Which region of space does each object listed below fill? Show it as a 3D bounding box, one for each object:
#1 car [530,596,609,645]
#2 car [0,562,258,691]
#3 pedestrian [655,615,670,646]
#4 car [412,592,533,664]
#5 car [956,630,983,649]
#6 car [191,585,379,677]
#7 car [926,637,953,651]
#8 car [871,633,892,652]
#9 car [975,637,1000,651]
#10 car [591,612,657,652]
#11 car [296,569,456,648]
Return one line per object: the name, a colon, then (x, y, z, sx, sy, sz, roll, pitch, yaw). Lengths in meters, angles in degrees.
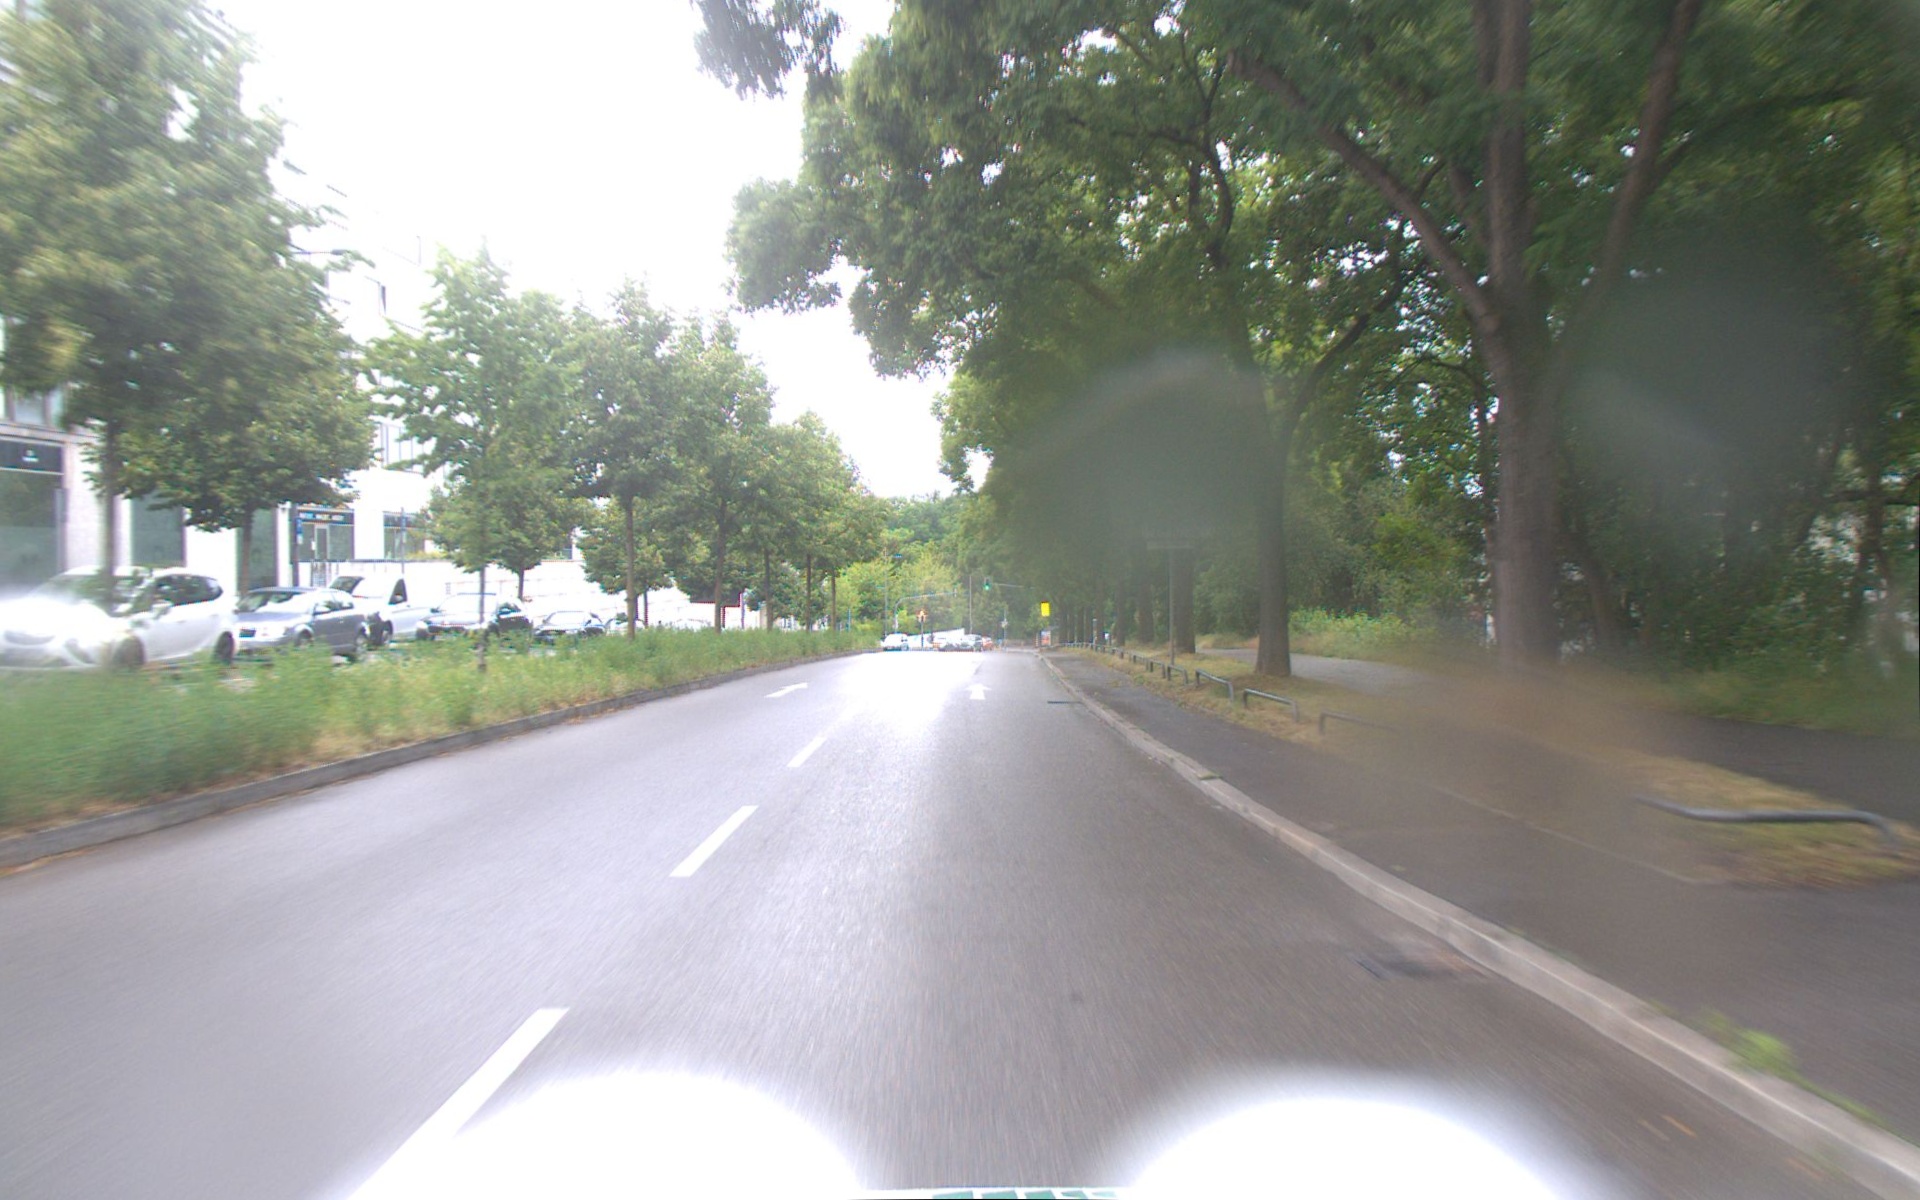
car: (-13.747, 0.704, 58.409, 1.659, 1.609, 4.019, 1, 1, 2)
car: (-12.137, 0.301, 23.947, 1.791, 1.628, 4.676, -1, 2, 2)
pedestrian: (-17.839, 1.840, 99.326, 0.693, 1.806, 1.021, -1, -2, 1)
car: (-11.702, 0.631, 39.970, 1.660, 1.609, 4.018, 0, 1, 1)
car: (1.043, 4.389, 184.077, 1.880, 1.890, 4.509, -5, -2, 14)
car: (-12.039, 0.505, 29.780, 1.607, 1.435, 3.998, -1, 2, 2)
car: (-2.130, 4.624, 172.638, 1.732, 1.405, 4.193, -3, -2, 15)
car: (-7.507, 4.102, 158.189, 1.675, 1.777, 4.337, 0, -2, 1)
car: (3.322, 5.332, 198.541, 1.835, 1.602, 4.225, 2, -1, 17)
car: (-13.568, 1.274, 67.002, 1.659, 1.469, 3.862, 1, 1, 4)
car: (-14.460, 0.231, 41.286, 2.078, 1.848, 5.260, 0, -1, 0)
